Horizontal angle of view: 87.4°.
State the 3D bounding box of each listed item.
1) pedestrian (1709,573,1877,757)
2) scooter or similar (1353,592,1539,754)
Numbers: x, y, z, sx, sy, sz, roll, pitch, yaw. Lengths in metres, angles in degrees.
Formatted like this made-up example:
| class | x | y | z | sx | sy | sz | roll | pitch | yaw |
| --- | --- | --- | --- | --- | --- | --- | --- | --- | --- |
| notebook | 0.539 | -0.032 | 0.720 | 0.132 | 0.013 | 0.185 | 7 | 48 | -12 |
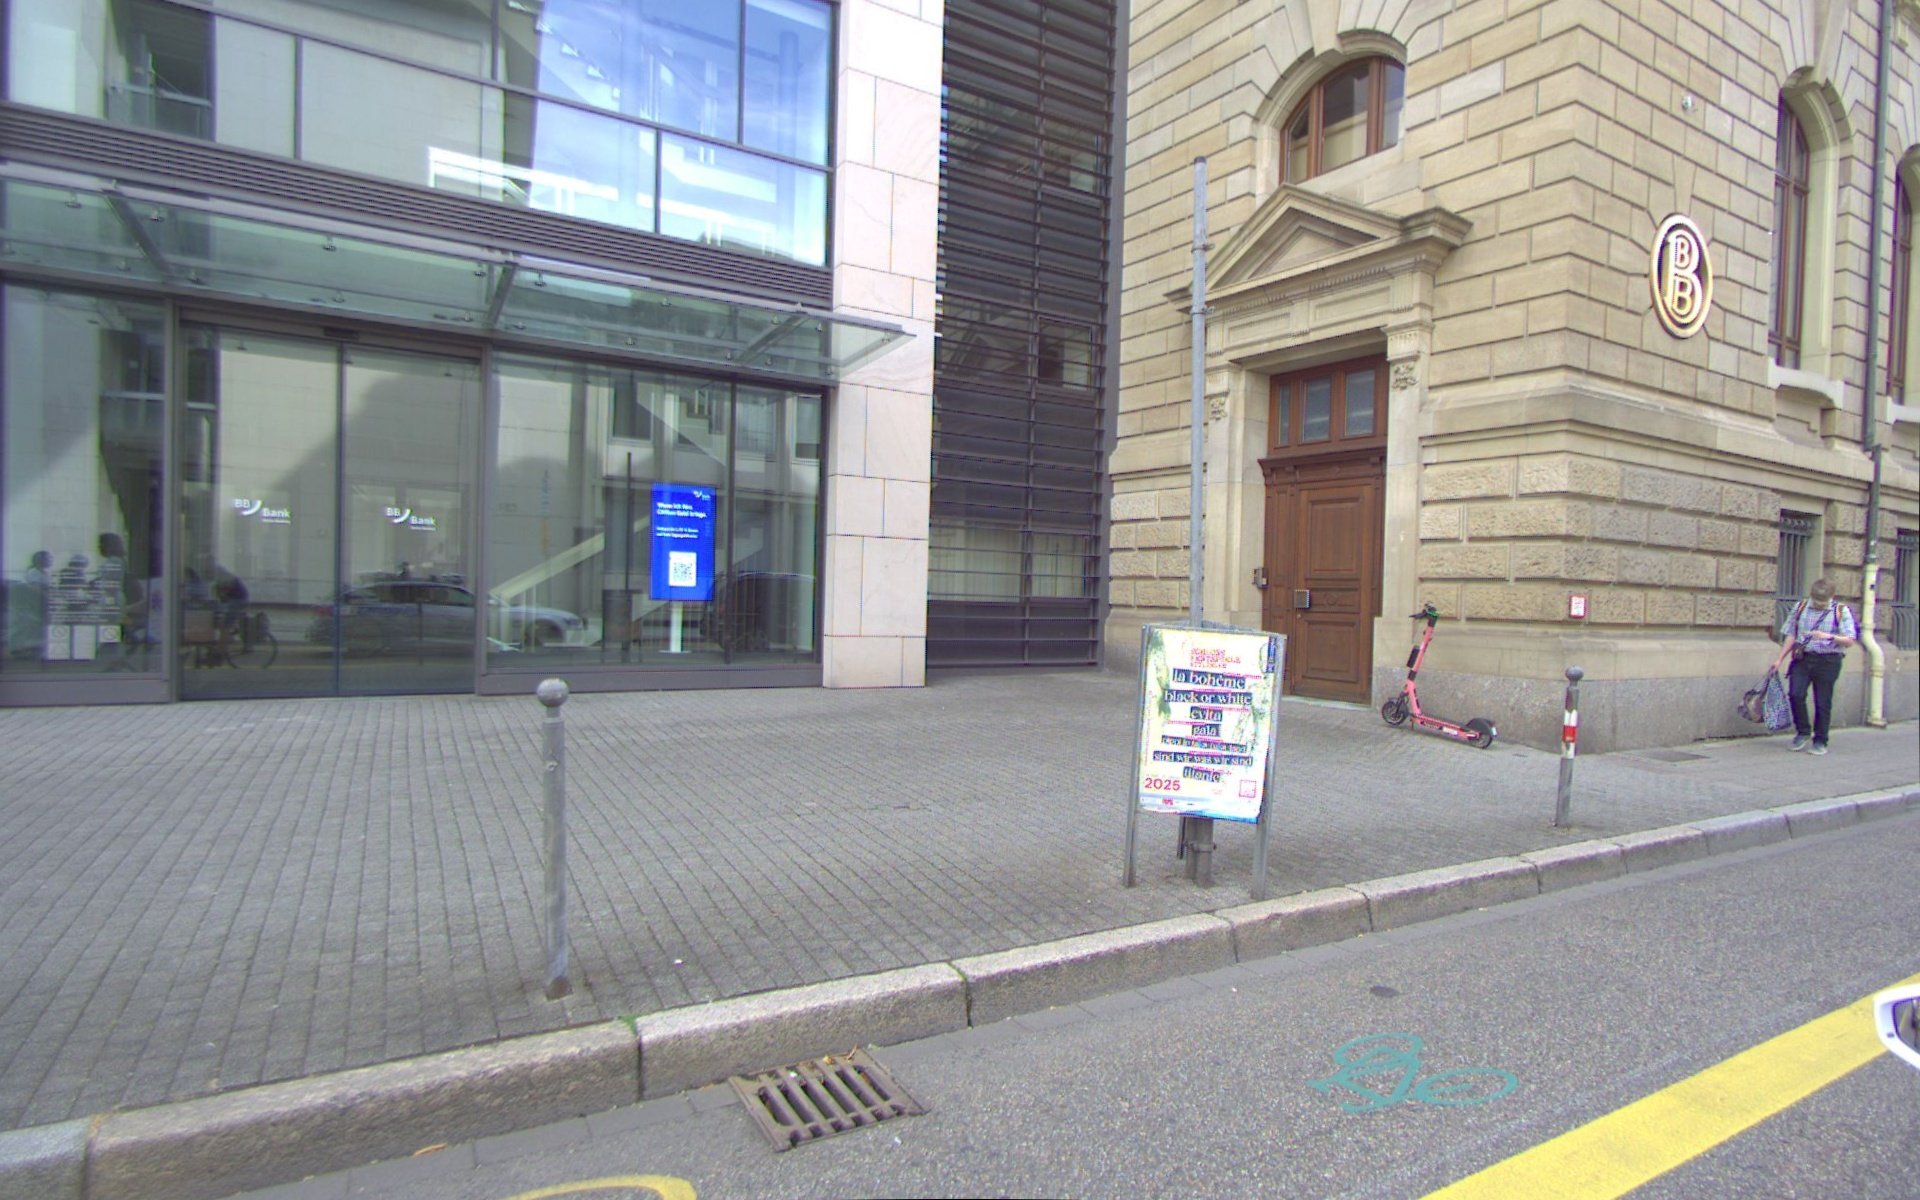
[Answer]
| class | x | y | z | sx | sy | sz | roll | pitch | yaw |
| --- | --- | --- | --- | --- | --- | --- | --- | --- | --- |
| pedestrian | 8.528 | 0.626 | 10.317 | 0.809 | 1.743 | 1.021 | 2 | 2 | -30 |
| scooter or similar | 4.552 | 0.637 | 9.501 | 0.580 | 1.328 | 1.439 | 0 | 4 | -30 |
